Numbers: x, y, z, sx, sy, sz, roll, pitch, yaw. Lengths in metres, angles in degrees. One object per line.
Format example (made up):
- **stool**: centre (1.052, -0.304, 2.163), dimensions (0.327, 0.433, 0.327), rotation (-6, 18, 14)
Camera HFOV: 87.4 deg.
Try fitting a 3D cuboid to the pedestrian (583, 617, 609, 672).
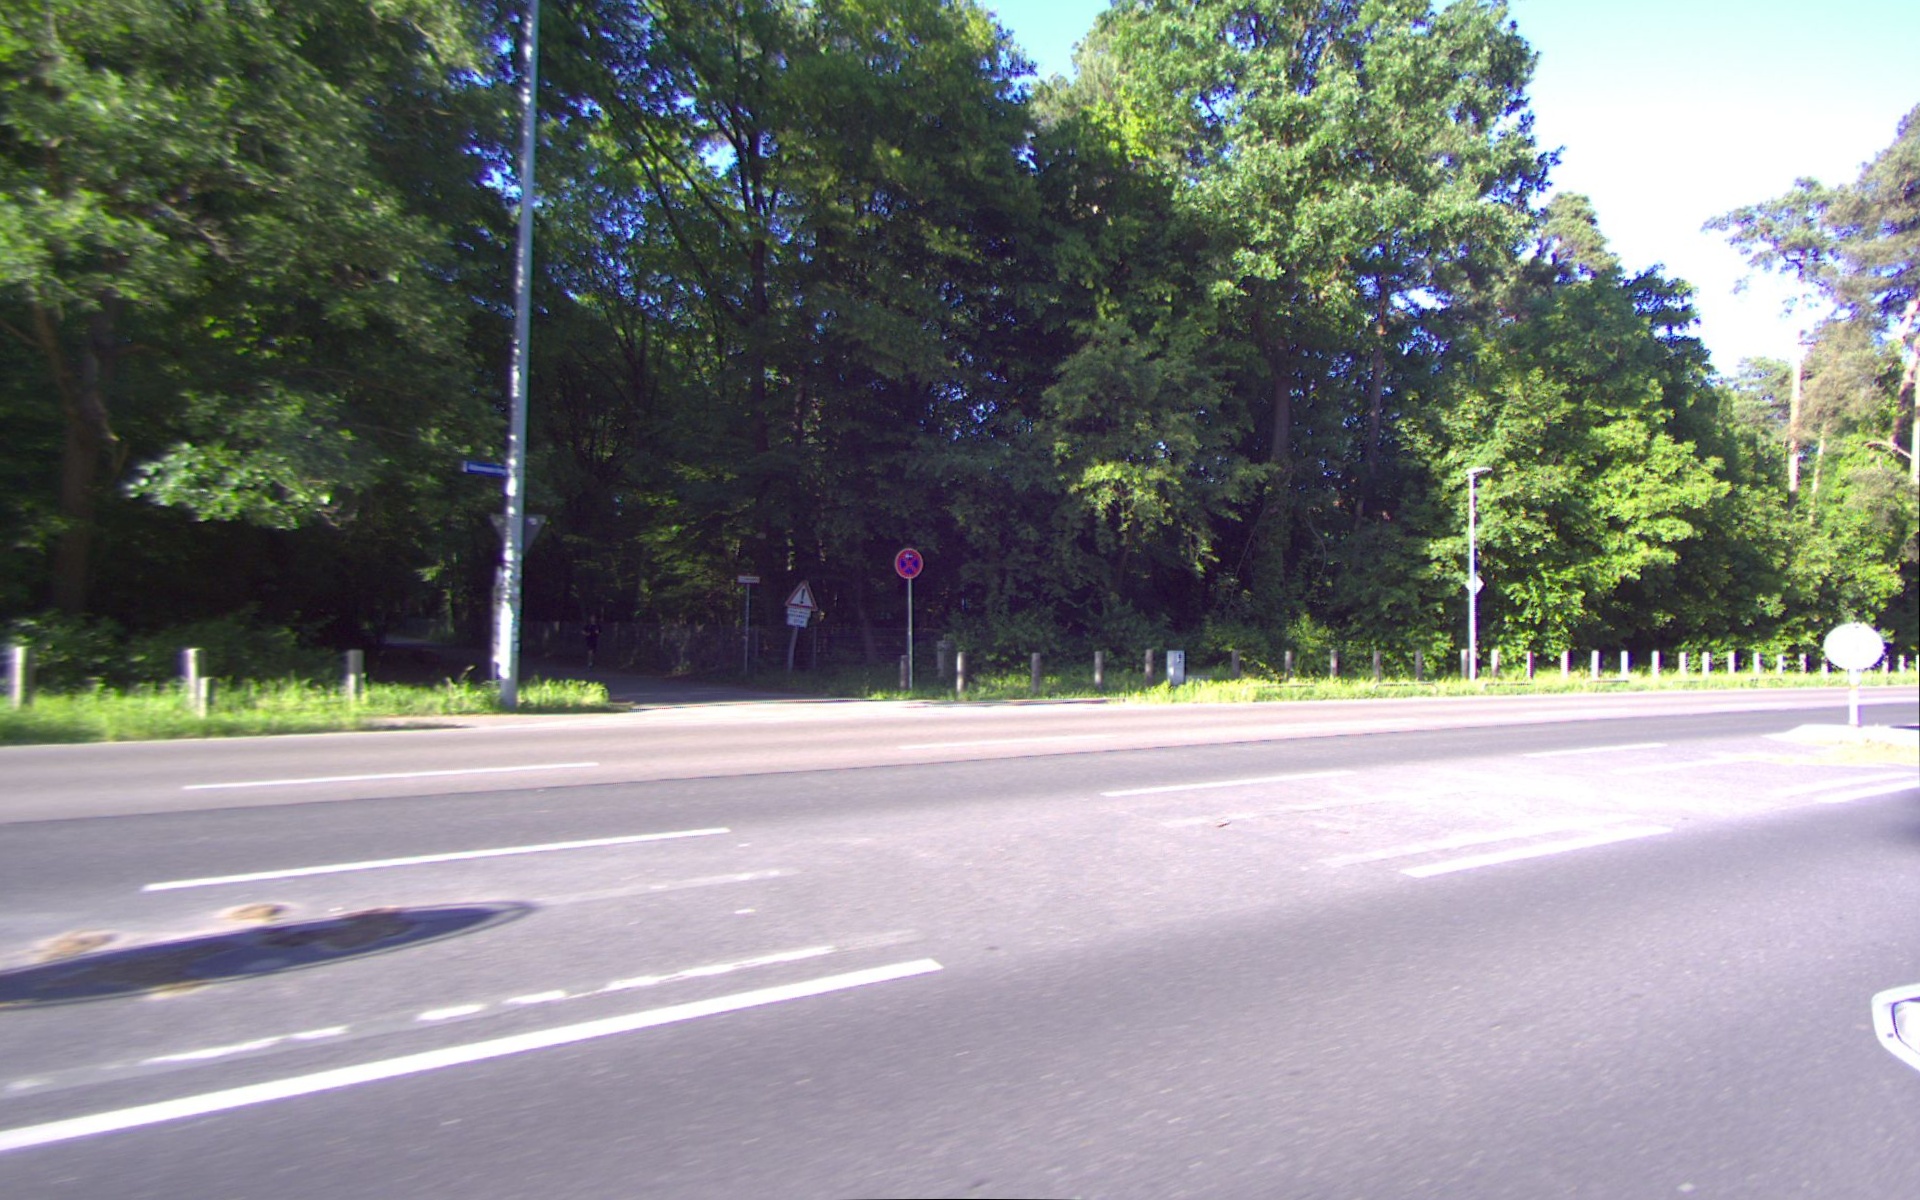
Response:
- **pedestrian**: centre (-11.988, 1.459, 33.085), dimensions (0.695, 1.769, 0.649), rotation (2, -1, -28)
